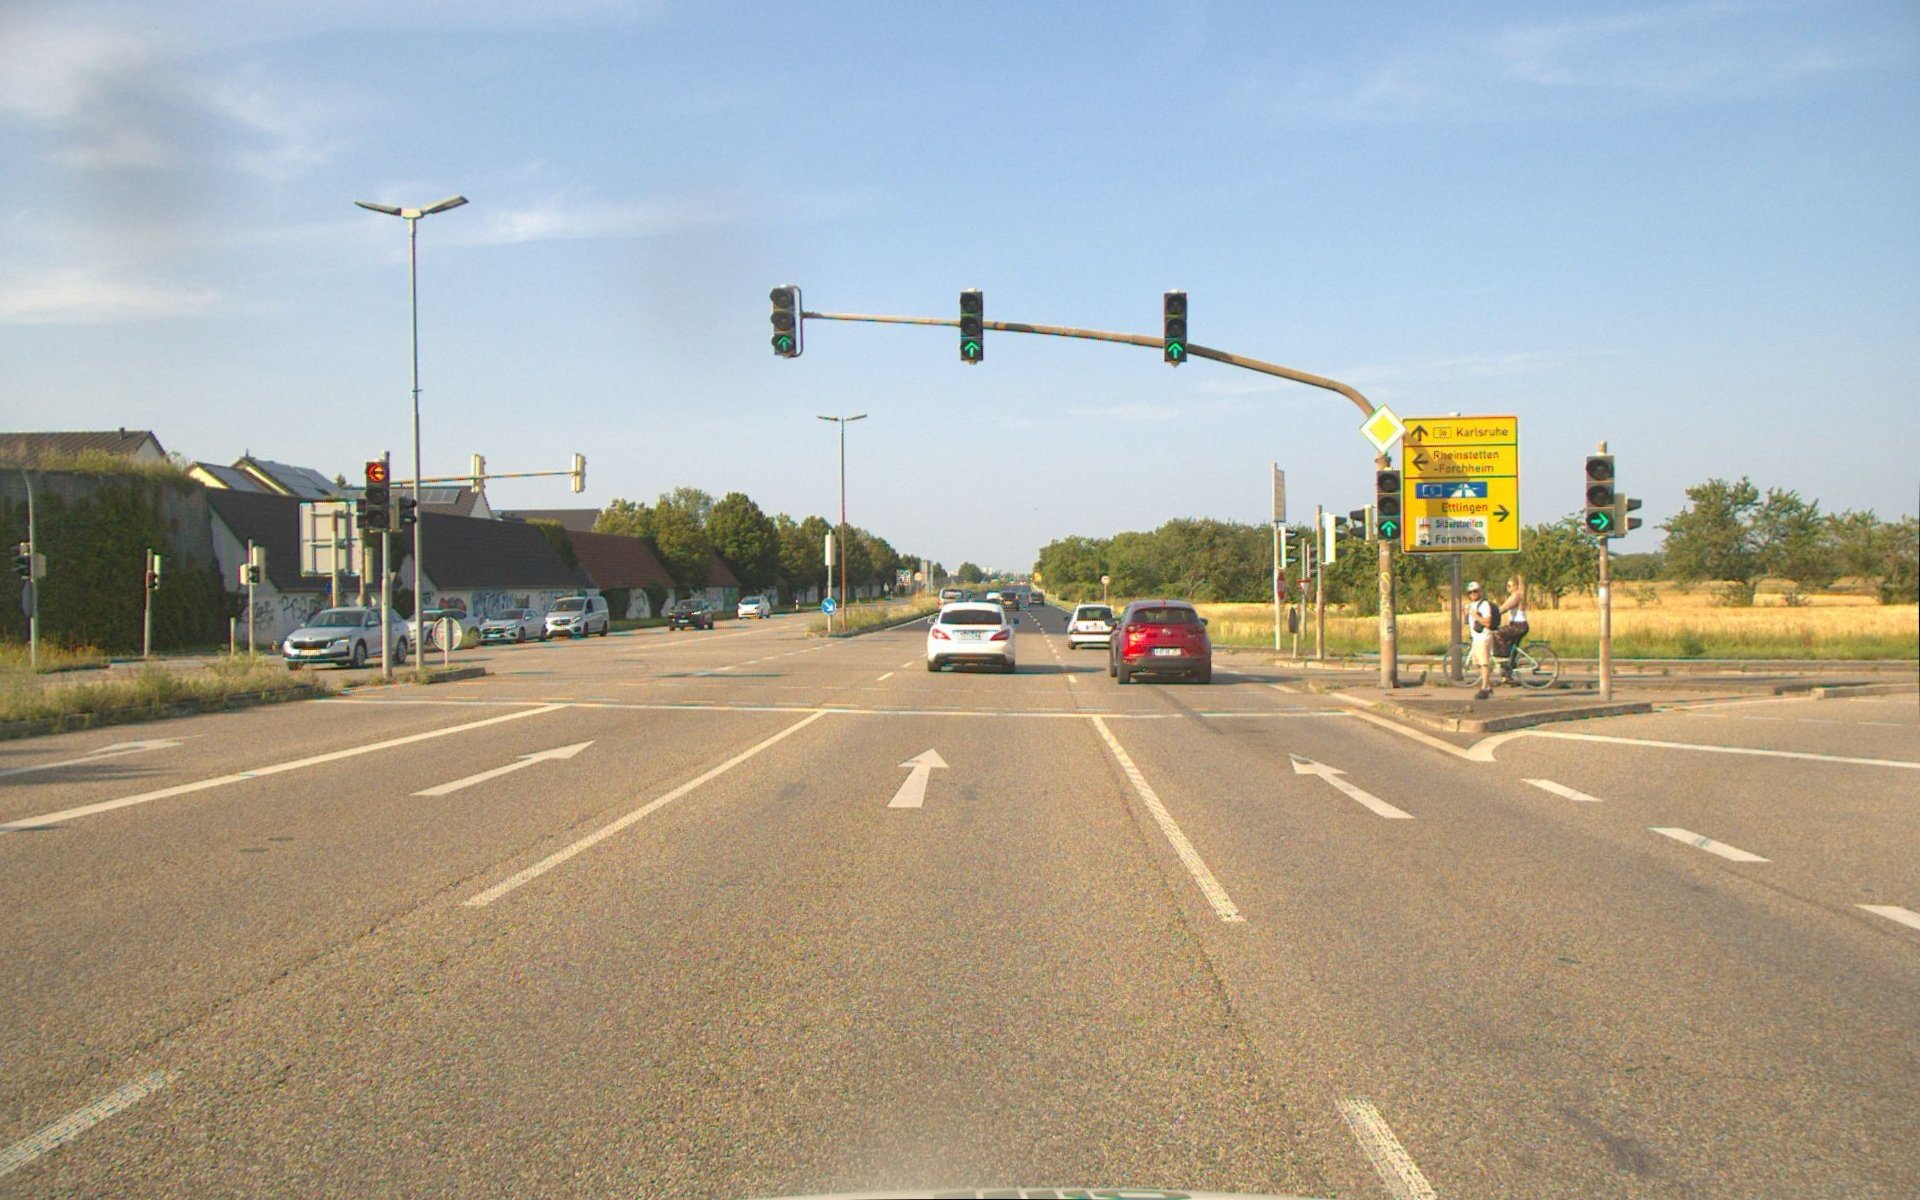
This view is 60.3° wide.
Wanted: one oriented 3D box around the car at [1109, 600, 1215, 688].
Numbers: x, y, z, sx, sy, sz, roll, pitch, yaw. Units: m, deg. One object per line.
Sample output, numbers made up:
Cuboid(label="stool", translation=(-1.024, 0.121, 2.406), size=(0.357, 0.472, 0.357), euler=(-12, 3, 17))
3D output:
Cuboid(label="car", translation=(3.780, 0.791, 31.501), size=(1.717, 1.543, 4.002), euler=(0, 0, 3))

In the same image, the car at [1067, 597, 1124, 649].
Cuboid(label="car", translation=(4.331, 0.711, 53.232), size=(1.693, 1.557, 3.475), euler=(1, 0, 3))

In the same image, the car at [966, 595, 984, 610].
Cuboid(label="car", translation=(1.536, 0.269, 167.678), size=(1.681, 1.518, 3.586), euler=(1, 0, 3))

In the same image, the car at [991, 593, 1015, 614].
Cuboid(label="car", translation=(3.635, 0.307, 139.000), size=(1.800, 1.713, 4.002), euler=(1, 0, 5))

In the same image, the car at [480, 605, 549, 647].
Cuboid(label="car", translation=(-18.729, 1.059, 69.656), size=(1.851, 1.646, 3.855), euler=(1, 0, -1))

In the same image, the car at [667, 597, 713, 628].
Cuboid(label="car", translation=(-14.003, 0.650, 85.863), size=(1.786, 1.534, 3.797), euler=(1, 0, -1))

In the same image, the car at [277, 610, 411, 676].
Cuboid(label="car", translation=(-15.268, 1.025, 41.239), size=(1.747, 1.462, 4.356), euler=(1, 0, -1))

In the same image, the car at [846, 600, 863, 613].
Cuboid(label="car", translation=(-12.920, 0.810, 202.318), size=(1.718, 1.557, 4.001), euler=(1, 0, 1))

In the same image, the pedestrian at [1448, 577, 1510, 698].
Cuboid(label="pedestrian", translation=(7.868, 0.555, 25.109), size=(0.695, 1.782, 0.863), euler=(1, 0, 4))

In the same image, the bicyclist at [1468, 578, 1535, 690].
Cuboid(label="bicyclist", translation=(8.871, 0.553, 27.123), size=(0.830, 1.786, 0.799), euler=(1, 0, 4))

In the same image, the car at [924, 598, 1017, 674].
Cuboid(label="car", translation=(0.285, 0.724, 35.457), size=(1.855, 1.535, 4.001), euler=(1, 0, 2))

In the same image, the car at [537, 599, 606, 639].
Cuboid(label="car", translation=(-17.844, 0.845, 76.105), size=(1.956, 1.716, 4.576), euler=(1, 0, 1))

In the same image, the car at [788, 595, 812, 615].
Cuboid(label="car", translation=(-14.990, 0.452, 155.087), size=(1.953, 1.825, 3.999), euler=(1, 0, -1))

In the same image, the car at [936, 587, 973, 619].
Cuboid(label="car", translation=(-0.309, 0.181, 103.909), size=(1.983, 1.925, 4.960), euler=(1, 1, 3))

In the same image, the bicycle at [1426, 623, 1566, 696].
Cuboid(label="bicycle", translation=(8.777, 0.966, 27.146), size=(2.051, 1.108, 0.808), euler=(1, 0, 6))

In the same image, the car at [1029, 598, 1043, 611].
Cuboid(label="car", translation=(7.833, 0.434, 170.237), size=(1.409, 1.306, 2.915), euler=(1, 0, 3))

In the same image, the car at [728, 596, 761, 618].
Cuboid(label="car", translation=(-16.048, 0.516, 123.543), size=(1.953, 1.523, 3.999), euler=(1, 0, -1))

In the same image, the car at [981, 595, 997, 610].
Cuboid(label="car", translation=(3.442, 0.277, 197.739), size=(1.740, 1.694, 3.663), euler=(1, 0, -1))
